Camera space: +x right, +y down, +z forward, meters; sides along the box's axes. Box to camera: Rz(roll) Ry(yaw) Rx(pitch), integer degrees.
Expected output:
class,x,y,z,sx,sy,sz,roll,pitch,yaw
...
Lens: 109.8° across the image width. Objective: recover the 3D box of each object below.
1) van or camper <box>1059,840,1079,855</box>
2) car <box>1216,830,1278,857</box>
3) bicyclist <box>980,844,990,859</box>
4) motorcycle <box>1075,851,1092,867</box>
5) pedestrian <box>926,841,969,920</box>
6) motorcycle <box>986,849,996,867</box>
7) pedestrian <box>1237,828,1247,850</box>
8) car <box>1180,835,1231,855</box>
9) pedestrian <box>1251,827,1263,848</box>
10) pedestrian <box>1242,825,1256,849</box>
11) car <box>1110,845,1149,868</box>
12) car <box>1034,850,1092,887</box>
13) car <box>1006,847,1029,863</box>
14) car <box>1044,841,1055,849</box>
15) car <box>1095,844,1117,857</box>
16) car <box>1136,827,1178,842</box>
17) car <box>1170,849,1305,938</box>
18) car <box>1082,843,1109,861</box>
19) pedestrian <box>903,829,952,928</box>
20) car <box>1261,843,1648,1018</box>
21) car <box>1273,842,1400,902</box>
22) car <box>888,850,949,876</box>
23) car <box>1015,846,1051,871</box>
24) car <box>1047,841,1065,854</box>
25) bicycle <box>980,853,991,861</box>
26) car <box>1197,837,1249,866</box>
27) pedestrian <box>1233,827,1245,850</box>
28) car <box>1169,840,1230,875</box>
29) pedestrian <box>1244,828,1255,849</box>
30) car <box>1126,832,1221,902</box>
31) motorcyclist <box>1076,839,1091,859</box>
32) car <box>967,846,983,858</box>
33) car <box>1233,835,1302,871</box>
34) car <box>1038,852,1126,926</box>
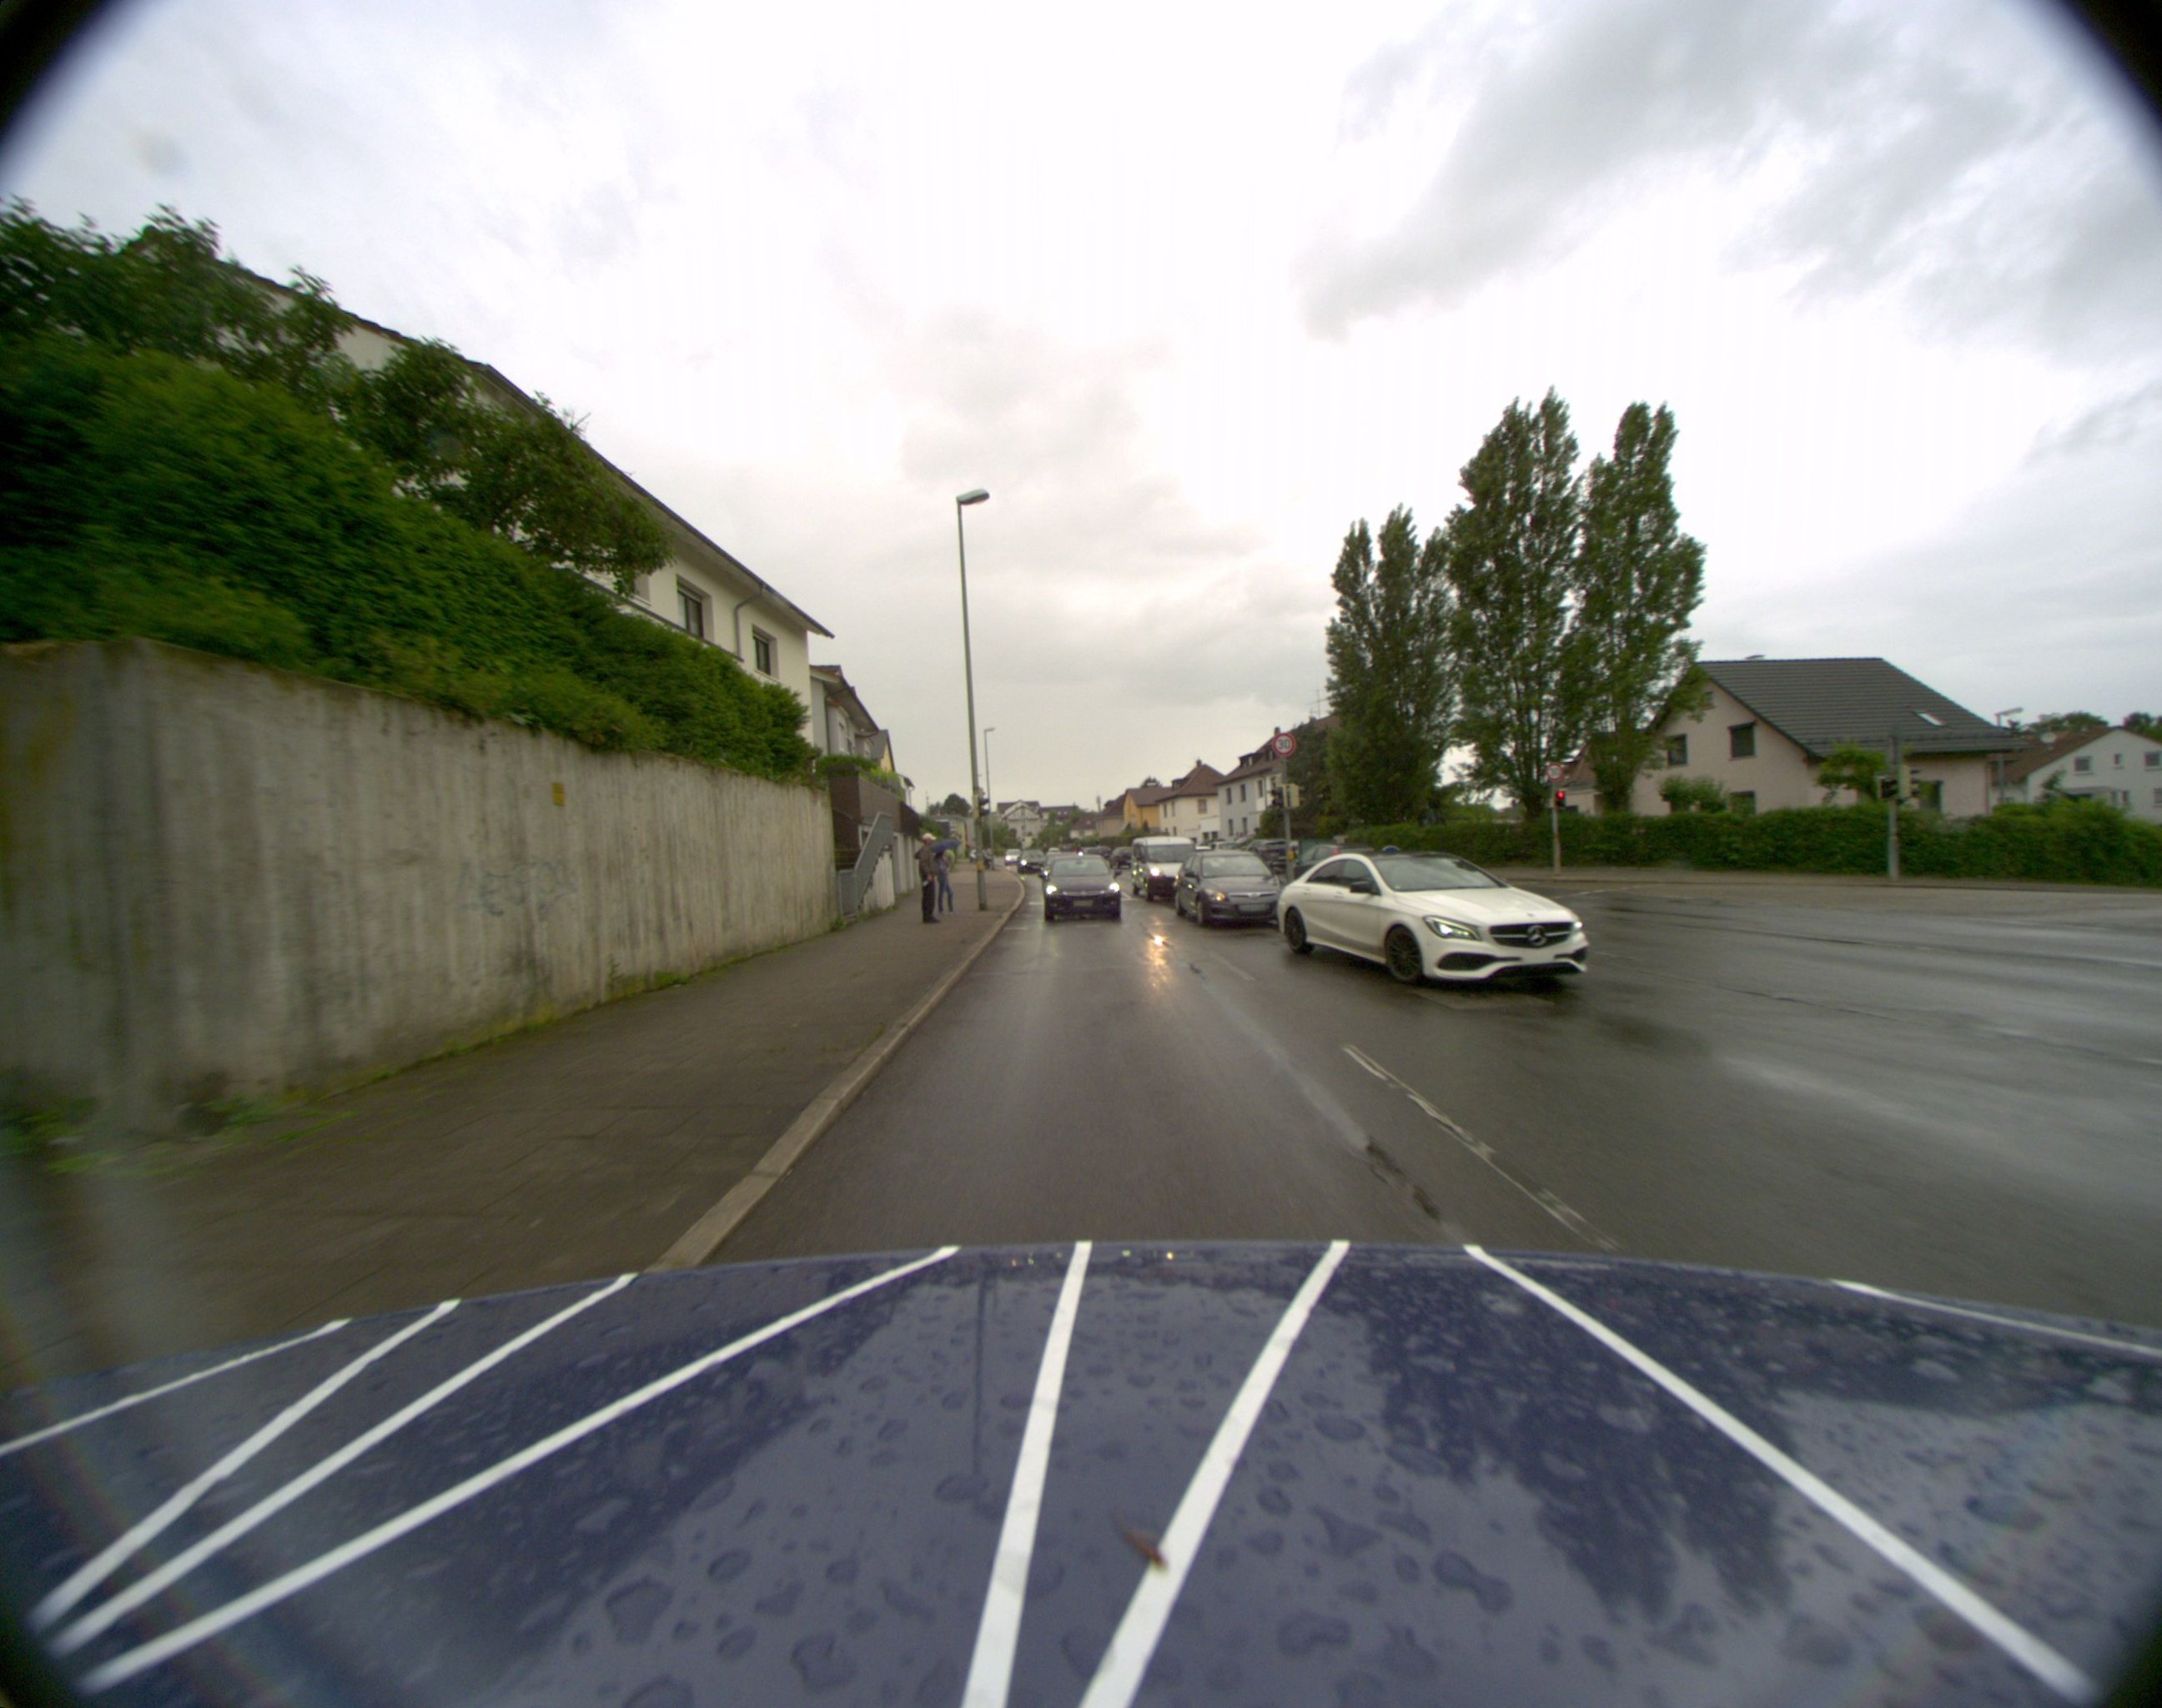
class,x,y,z,sx,sy,sz,roll,pitch,yaw
van or camper,-1.735,-0.953,111.099,2.191,2.002,5.129,-2,2,-9
car,12.338,-0.778,56.709,3.999,1.556,1.871,-7,1,-7
bicyclist,-10.214,-0.283,80.823,0.809,1.633,0.906,-1,1,2
motorcycle,0.182,0.333,54.385,0.944,1.101,2.404,-2,1,-6
pedestrian,-3.097,0.592,17.689,0.796,1.770,1.011,-1,2,-1
motorcycle,-6.995,0.310,59.022,0.694,1.317,2.477,-2,1,-9
pedestrian,13.470,-1.273,63.491,0.652,1.777,0.648,-5,1,16
car,10.926,-0.781,66.781,3.999,1.412,1.883,-5,2,-7
pedestrian,14.488,-1.368,62.542,0.584,1.661,0.575,-6,2,-9
pedestrian,13.421,-1.352,60.707,0.734,1.856,0.686,-6,2,-2
car,3.357,0.178,53.379,1.859,1.455,3.996,-3,1,-9
car,-0.835,0.615,32.195,1.911,1.389,4.854,-2,-1,-7
car,-6.270,0.132,74.503,1.842,1.472,3.997,-2,0,-10
car,-6.987,-1.956,166.915,2.000,1.565,3.996,-2,2,-7
car,2.766,-0.427,85.422,1.810,1.407,3.997,-2,1,-7
car,8.273,-2.132,82.631,4.115,1.475,1.838,2,0,-14
car,3.064,0.700,15.730,1.840,1.479,4.057,-2,1,-1
car,1.246,-0.211,67.428,1.717,1.494,3.996,-2,1,-8
pedestrian,-3.207,0.498,15.917,0.799,2.002,0.734,-2,2,-1
car,4.057,0.665,9.345,1.914,1.519,4.647,-2,1,-9
car,7.527,0.455,22.811,2.000,1.565,3.996,-2,1,-8
car,-10.344,0.552,48.367,3.644,1.477,1.810,-3,1,-12
car,-3.192,0.330,50.109,1.842,1.448,3.998,-2,-3,-10
car,-3.155,-0.834,96.051,1.838,1.521,3.997,-2,1,-7
bicycle,-10.173,0.333,80.977,0.733,0.822,2.234,-1,1,2
car,8.310,-0.198,44.739,1.810,1.559,4.139,-2,2,-7
pedestrian,12.744,-1.267,61.262,0.670,1.779,0.539,-6,2,-4
car,5.851,0.117,38.062,1.841,1.547,4.766,-2,1,-5
pedestrian,14.255,-1.297,64.275,0.588,1.698,0.561,-6,2,-9
car,2.695,0.320,23.256,1.957,1.860,4.743,-2,1,-4
motorcyclist,0.155,-0.347,54.419,0.953,1.413,0.992,-2,2,-6
car,-12.964,-0.263,93.081,1.738,1.481,3.997,-2,1,-7
car,9.301,-0.111,38.232,1.810,1.660,4.594,-2,2,-7
car,0.044,0.757,18.465,1.840,1.390,3.999,-4,1,1
